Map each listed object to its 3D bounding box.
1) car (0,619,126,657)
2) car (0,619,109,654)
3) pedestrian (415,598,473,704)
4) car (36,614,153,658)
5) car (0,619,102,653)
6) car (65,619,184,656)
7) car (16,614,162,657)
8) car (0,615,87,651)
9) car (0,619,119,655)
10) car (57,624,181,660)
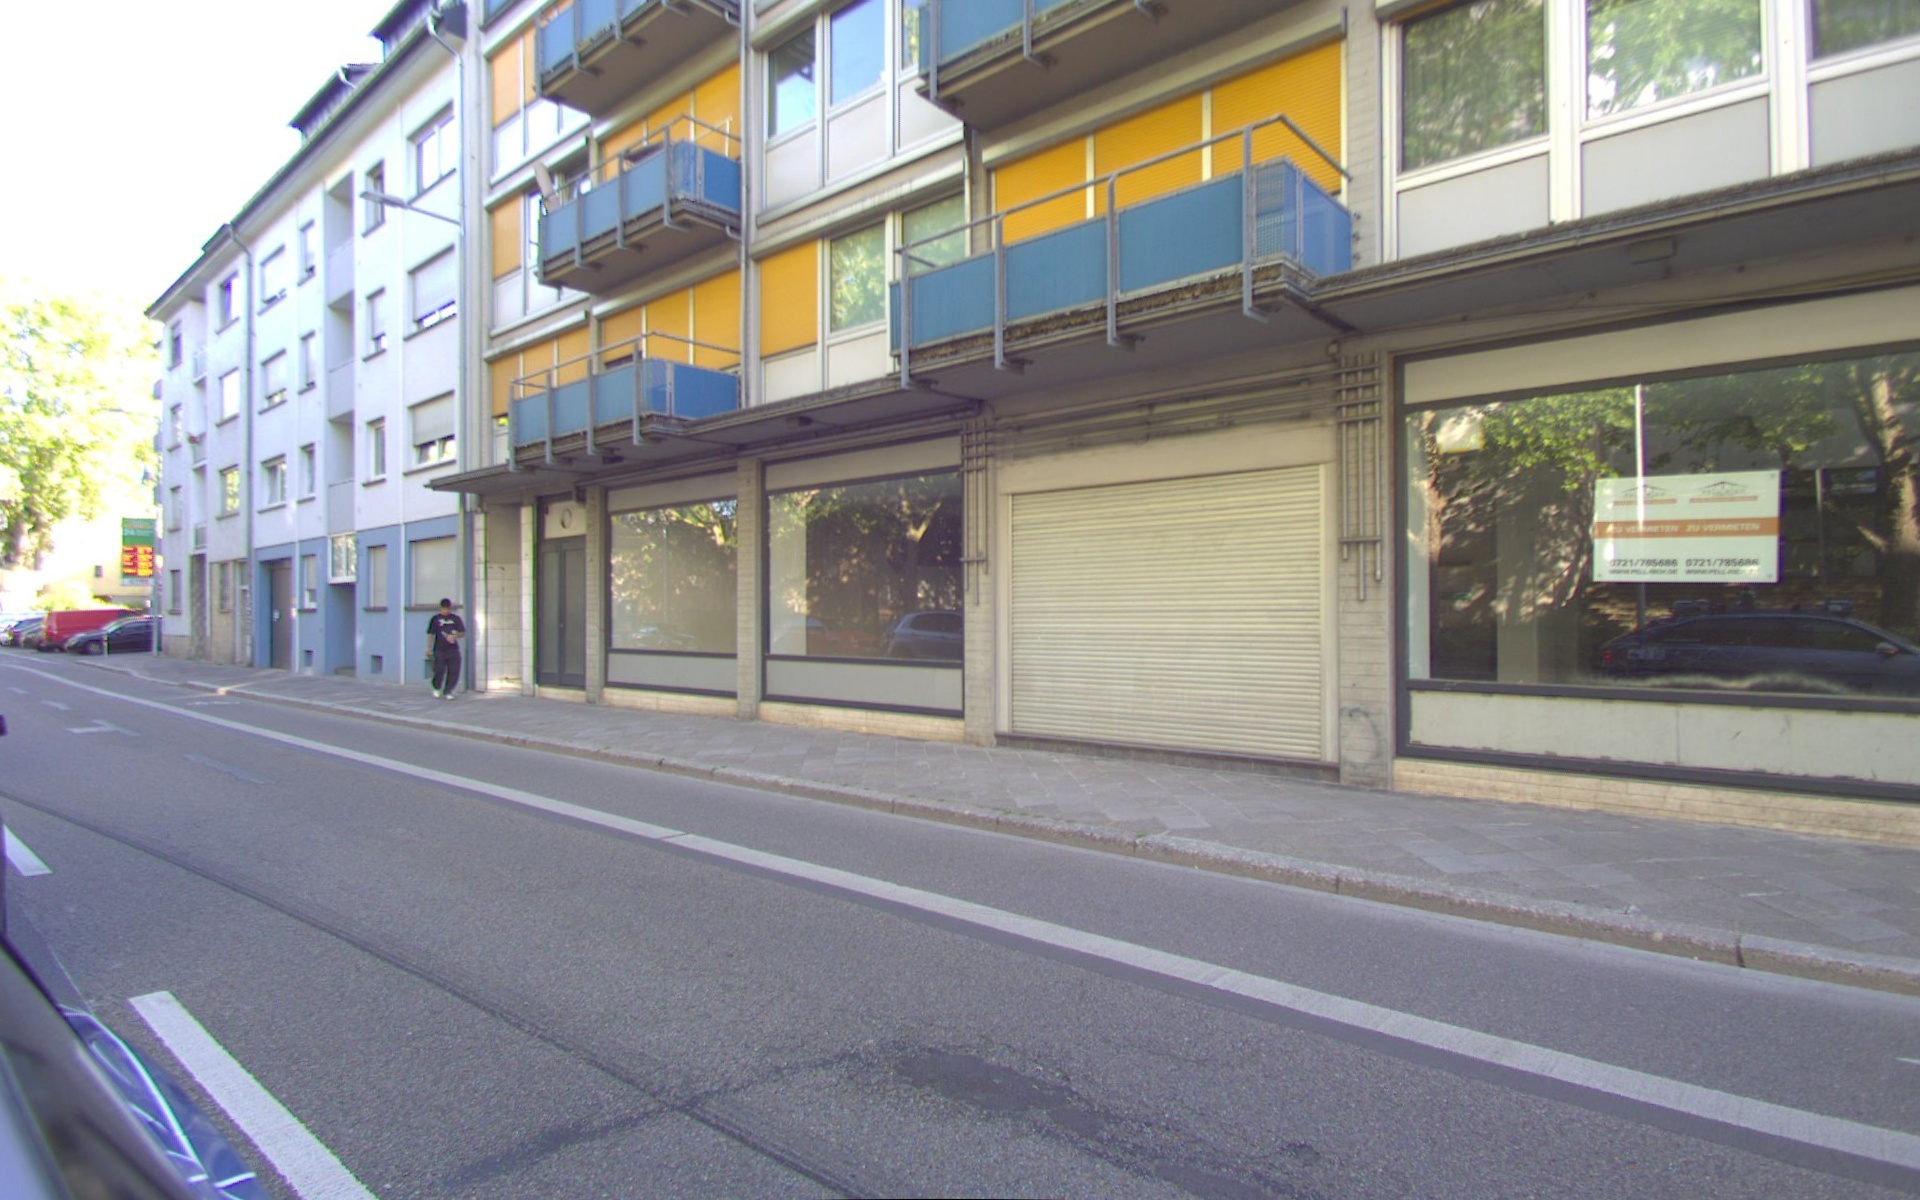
[{"bbox_3d":[-50.305,2.088,56.832,2.186,1.952,5.077,-1,-1,41],"label":"car"},{"bbox_3d":[-54.130,2.132,60.357,2.082,1.952,4.928,-1,-1,41],"label":"car"},{"bbox_3d":[-8.936,0.865,17.525,0.793,1.785,0.654,-2,-1,43],"label":"pedestrian"},{"bbox_3d":[-40.597,1.636,47.519,1.866,1.952,3.946,-1,-1,41],"label":"car"},{"bbox_3d":[-55.978,2.160,61.988,2.314,1.952,4.978,-1,-1,41],"label":"car"},{"bbox_3d":[-37.884,1.680,45.945,1.742,1.572,3.946,-1,-1,41],"label":"car"},{"bbox_3d":[-42.698,1.703,49.717,2.256,1.995,5.156,-1,-1,41],"label":"car"},{"bbox_3d":[-59.352,2.100,64.714,2.186,2.164,5.077,-1,-1,41],"label":"car"},{"bbox_3d":[-52.244,2.111,58.720,2.159,1.952,4.990,-1,-1,41],"label":"car"},{"bbox_3d":[-36.559,1.789,44.080,1.742,1.431,3.946,-1,-1,41],"label":"car"}]
